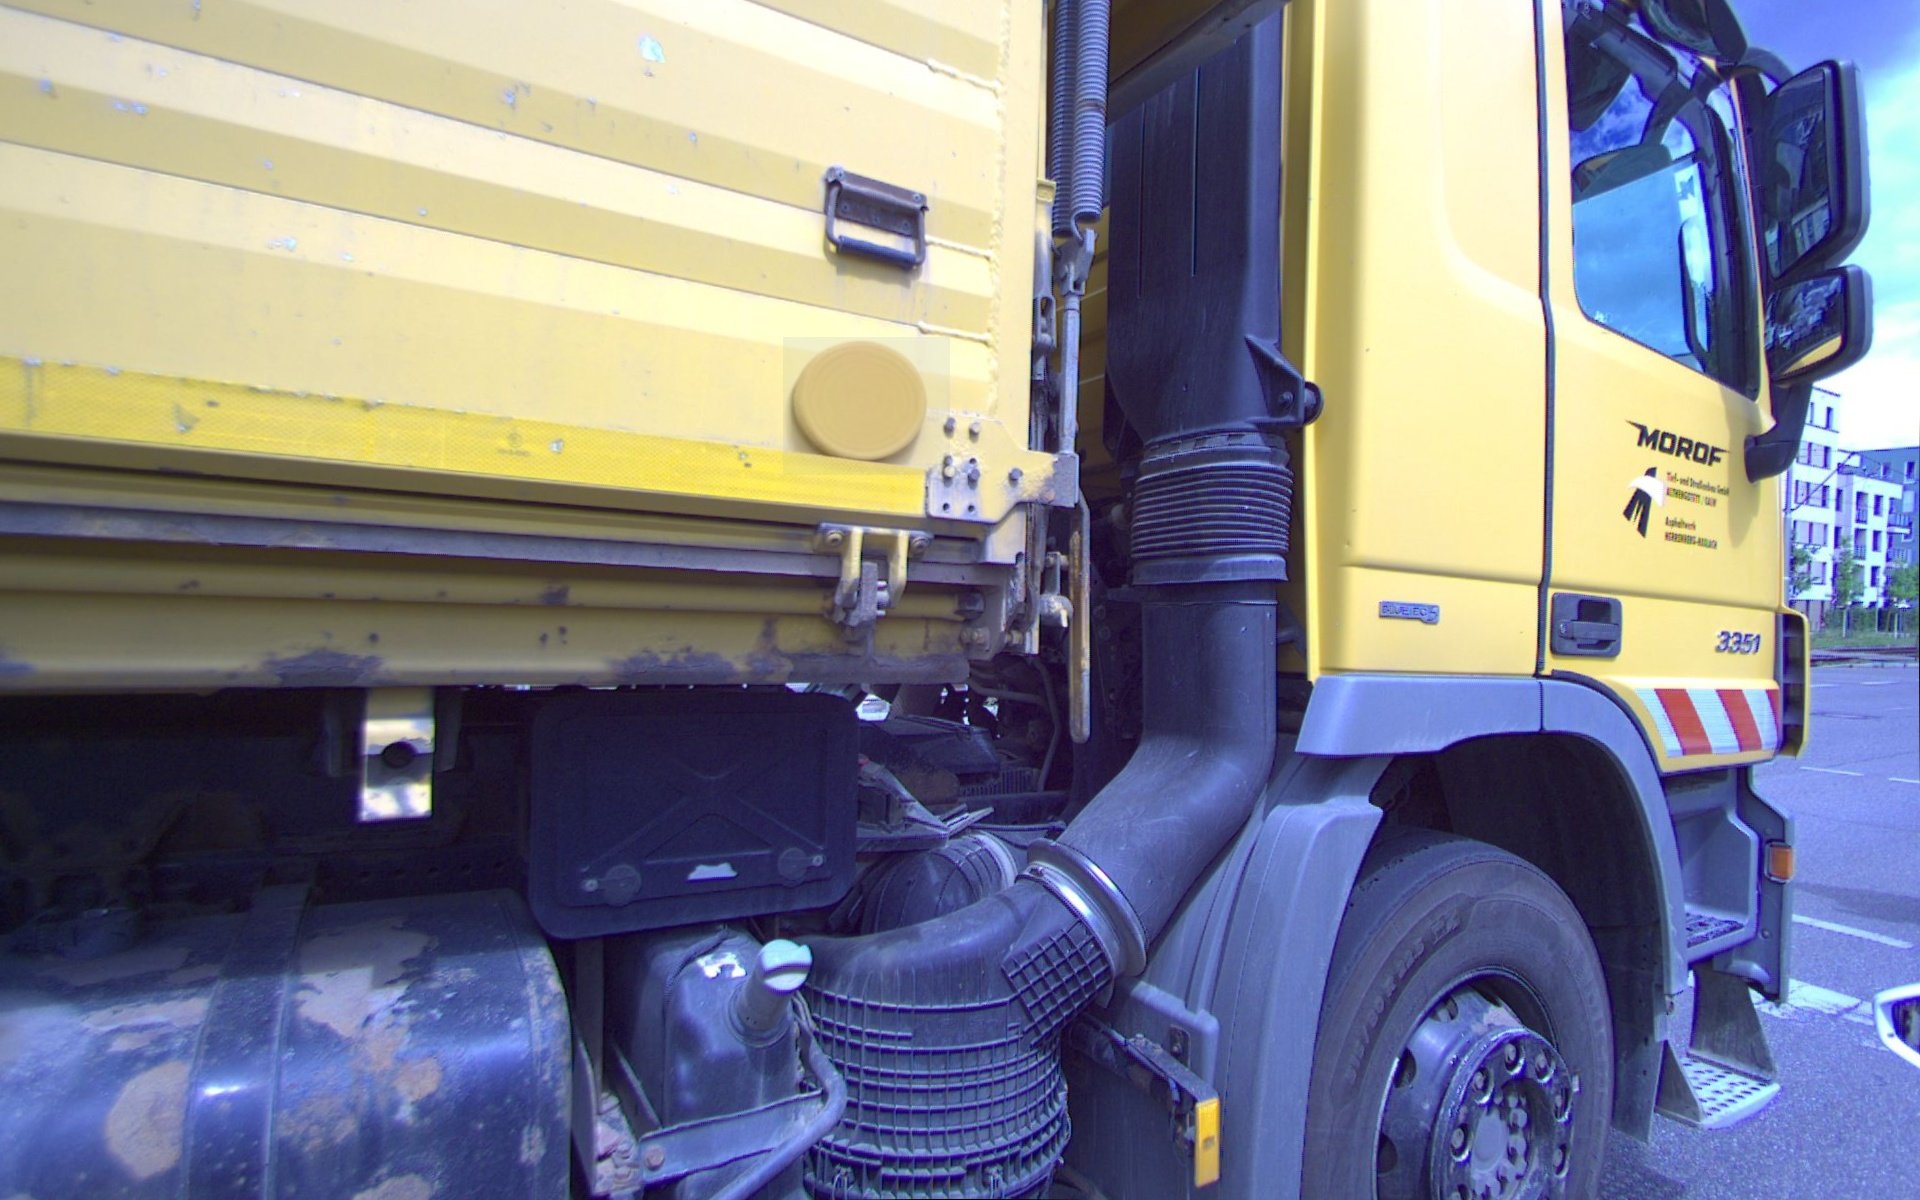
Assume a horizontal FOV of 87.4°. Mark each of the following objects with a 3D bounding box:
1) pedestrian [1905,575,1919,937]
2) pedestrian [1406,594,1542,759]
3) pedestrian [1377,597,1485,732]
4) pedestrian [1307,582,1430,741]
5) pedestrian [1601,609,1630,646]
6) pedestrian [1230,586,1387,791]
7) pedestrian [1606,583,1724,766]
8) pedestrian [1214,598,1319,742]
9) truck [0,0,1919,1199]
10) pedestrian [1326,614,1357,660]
[{"bbox_3d":[5.016,0.737,4.715,0.813,1.693,0.729,1,1,43],"label":"pedestrian"},{"bbox_3d":[5.394,0.760,10.557,0.918,1.628,0.908,1,0,-30],"label":"pedestrian"},{"bbox_3d":[5.939,0.776,12.671,0.898,1.618,0.887,1,0,-34],"label":"pedestrian"},{"bbox_3d":[4.875,0.695,12.023,0.918,1.796,0.998,1,0,-29],"label":"pedestrian"},{"bbox_3d":[27.737,1.157,42.511,0.628,1.536,0.827,1,0,-30],"label":"pedestrian"},{"bbox_3d":[3.045,0.723,8.823,0.870,1.670,0.954,1,0,-29],"label":"pedestrian"},{"bbox_3d":[7.175,0.718,10.227,0.821,1.766,0.775,1,0,-40],"label":"pedestrian"},{"bbox_3d":[3.510,0.770,11.528,0.737,1.575,0.877,1,0,-29],"label":"pedestrian"},{"bbox_3d":[-1.717,-0.230,1.639,7.916,3.439,3.033,1,0,-32],"label":"truck"},{"bbox_3d":[14.229,1.369,37.480,1.048,1.670,0.708,1,0,18],"label":"pedestrian"}]
